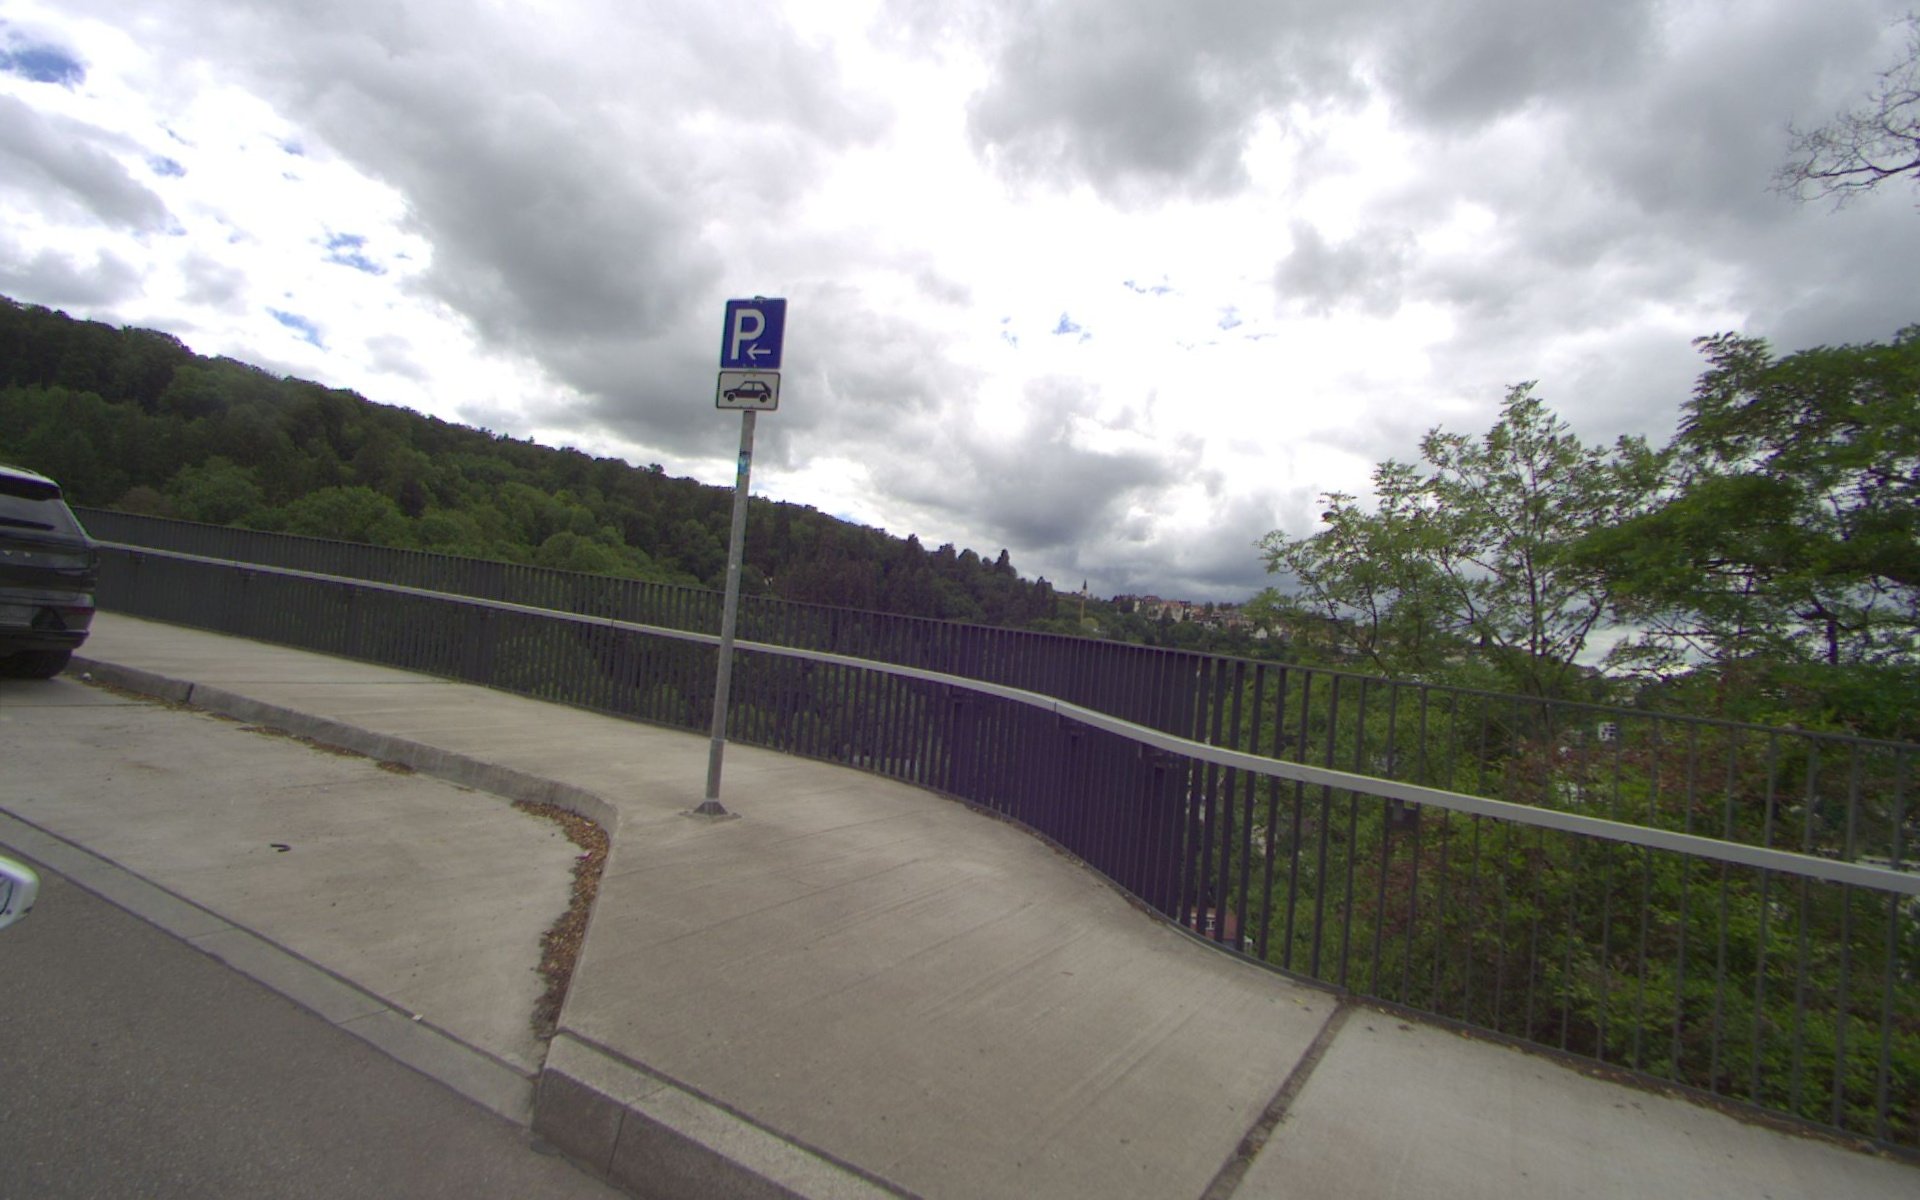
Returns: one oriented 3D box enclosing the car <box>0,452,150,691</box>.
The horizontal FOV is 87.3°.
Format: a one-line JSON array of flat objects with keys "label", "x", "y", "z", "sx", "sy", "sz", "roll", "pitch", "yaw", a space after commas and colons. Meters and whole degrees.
[{"label": "car", "x": -9.305, "y": -0.451, "z": 8.205, "sx": 4.957, "sy": 1.739, "sz": 1.999, "roll": 6, "pitch": 0, "yaw": 23}]
